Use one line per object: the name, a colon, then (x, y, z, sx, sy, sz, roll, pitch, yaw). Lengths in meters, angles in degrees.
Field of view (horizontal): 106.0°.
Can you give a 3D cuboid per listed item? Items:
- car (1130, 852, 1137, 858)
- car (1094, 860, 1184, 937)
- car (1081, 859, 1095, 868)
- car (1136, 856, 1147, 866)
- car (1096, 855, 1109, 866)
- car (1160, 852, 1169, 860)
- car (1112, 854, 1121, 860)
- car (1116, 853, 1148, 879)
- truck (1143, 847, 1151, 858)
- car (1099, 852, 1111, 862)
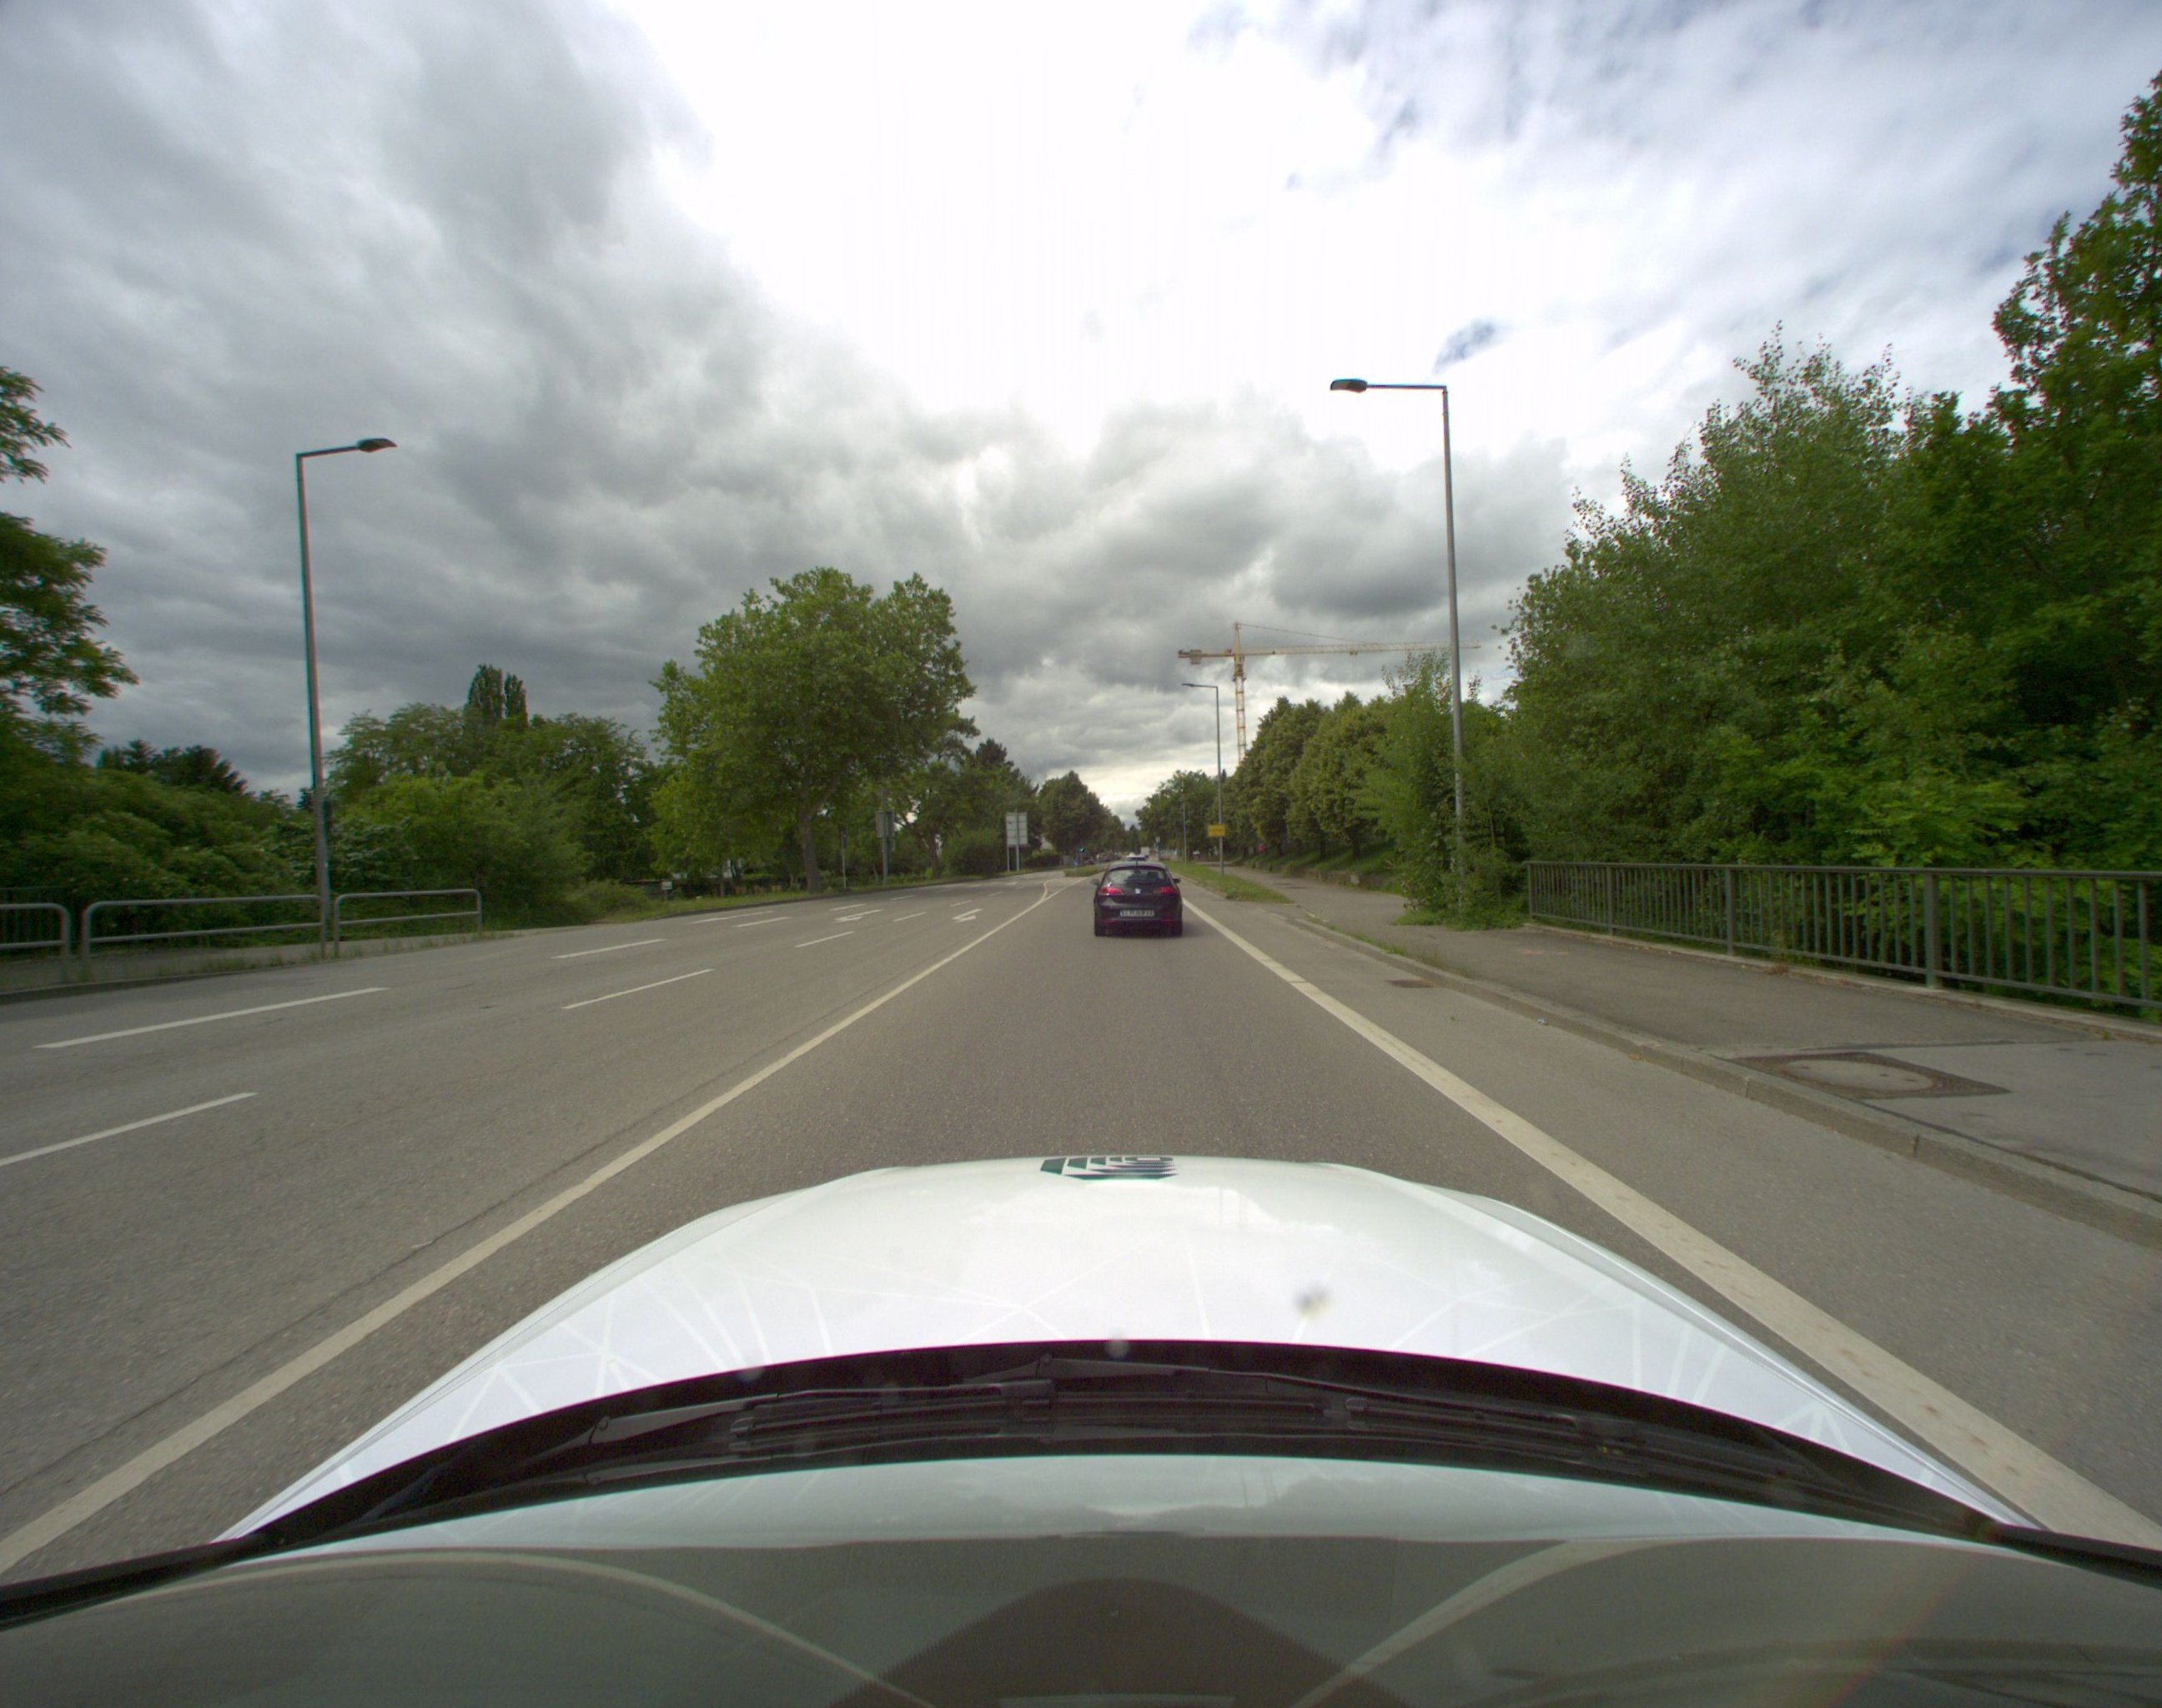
car: (16.409, 0.277, 253.545, 1.865, 1.635, 4.349, -4, 0, 7)
car: (1.180, 0.842, 17.051, 1.656, 1.401, 3.814, 0, 0, 3)
car: (1.171, 1.546, 134.725, 1.710, 1.395, 4.808, -4, 0, 5)
car: (11.594, 1.332, 155.456, 1.872, 1.689, 4.219, -2, 0, 5)
car: (4.296, 1.273, 163.828, 2.090, 1.896, 5.792, -4, 0, 5)
car: (16.118, 0.440, 157.421, 1.680, 1.490, 3.359, -2, 0, 5)
car: (9.523, 0.758, 220.937, 2.090, 1.506, 5.792, -4, 0, 5)
car: (3.115, 0.684, 49.612, 1.838, 1.510, 3.815, 0, 0, 4)
truck: (18.695, -0.409, 231.172, 2.268, 3.104, 8.521, 0, 0, 5)
car: (5.031, 0.683, 171.290, 2.090, 1.896, 5.792, -4, 0, 5)
